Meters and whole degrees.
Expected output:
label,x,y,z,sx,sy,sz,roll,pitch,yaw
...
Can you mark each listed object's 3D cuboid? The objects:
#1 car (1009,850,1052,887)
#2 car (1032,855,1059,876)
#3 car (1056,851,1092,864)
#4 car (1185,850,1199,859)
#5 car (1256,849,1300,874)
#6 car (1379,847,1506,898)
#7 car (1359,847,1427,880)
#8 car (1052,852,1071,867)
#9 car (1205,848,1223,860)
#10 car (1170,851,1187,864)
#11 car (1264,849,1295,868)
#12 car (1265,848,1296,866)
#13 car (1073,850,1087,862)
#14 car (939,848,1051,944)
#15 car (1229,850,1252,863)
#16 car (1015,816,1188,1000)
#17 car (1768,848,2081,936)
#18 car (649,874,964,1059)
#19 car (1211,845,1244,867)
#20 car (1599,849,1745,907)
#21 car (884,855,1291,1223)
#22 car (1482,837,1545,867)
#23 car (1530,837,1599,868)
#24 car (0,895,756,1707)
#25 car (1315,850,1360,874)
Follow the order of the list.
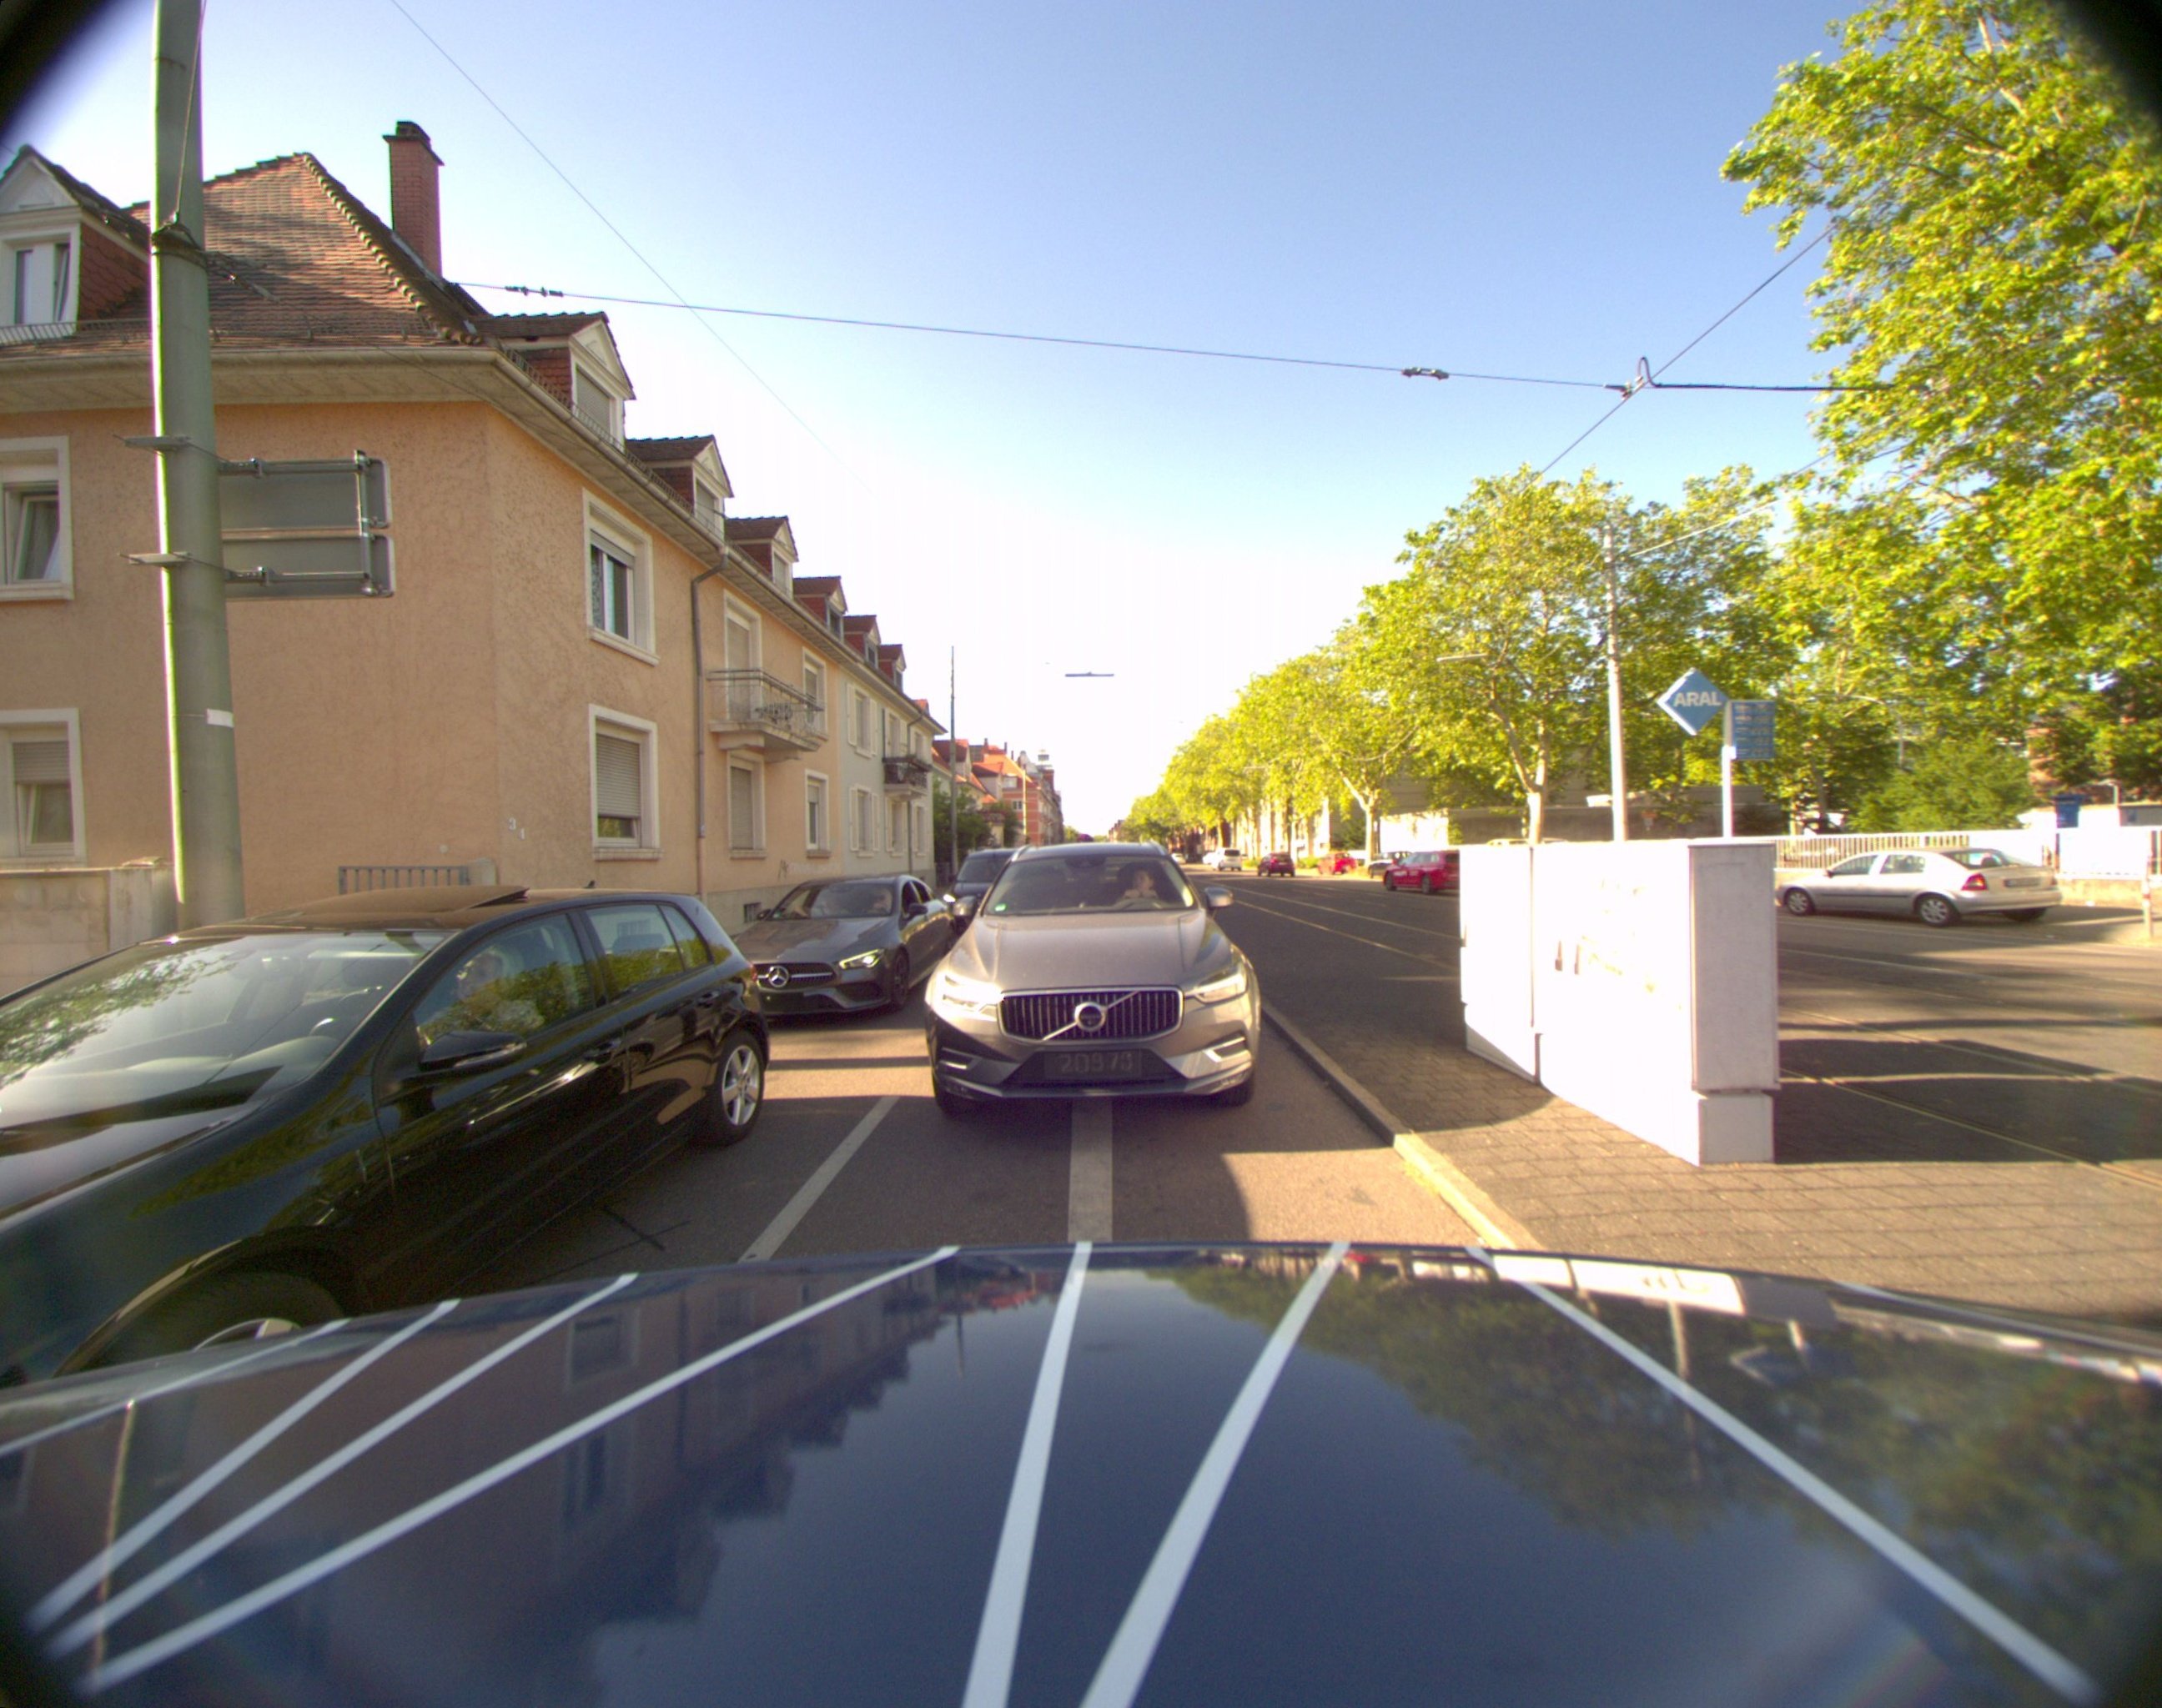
label,x,y,z,sx,sy,sz,roll,pitch,yaw
car,-2.888,0.760,45.013,1.937,1.888,7.210,-2,1,1
car,-2.827,0.894,60.588,1.841,1.449,3.999,-2,1,1
car,-0.851,0.466,92.326,3.990,1.449,1.845,-2,1,28
car,18.333,0.035,125.559,1.700,1.401,3.999,-1,1,1
car,12.128,0.430,47.047,1.700,1.412,3.999,-1,1,1
car,11.833,0.543,25.283,1.912,1.514,4.763,0,1,0
car,16.936,0.469,41.483,1.753,1.514,4.434,-5,1,-1
car,-2.182,0.593,85.435,1.841,1.449,3.999,-2,1,1
car,17.664,0.018,100.782,1.700,1.548,3.999,-1,1,1
car,12.942,0.450,101.216,1.764,1.487,3.999,-2,1,1
car,17.168,0.328,65.993,1.700,1.566,3.999,-1,1,1
car,17.285,0.235,65.912,1.700,1.401,3.999,-1,1,1
car,-0.158,0.282,106.487,1.841,1.449,3.999,-2,1,1
car,-1.778,0.800,17.210,1.866,1.794,4.778,-2,1,1
car,17.517,0.259,83.520,1.700,1.401,3.999,-1,1,1
car,0.237,0.601,11.121,1.912,2.048,4.763,-2,1,0
car,16.201,0.635,14.960,1.731,1.412,3.999,-2,1,1
car,-2.787,1.063,8.987,1.911,1.411,4.492,-2,1,2
car,12.554,0.159,65.338,1.850,1.835,4.394,-1,1,-1
car,16.345,0.614,21.202,1.546,1.412,3.254,-2,1,1
car,0.040,0.903,6.069,1.912,1.666,4.763,-2,1,0
car,21.715,-0.105,38.274,1.545,1.412,3.151,-2,1,4
car,23.945,-0.082,37.726,1.545,1.412,3.151,-2,1,4
car,-2.912,0.988,2.645,1.733,1.499,4.051,-2,-1,1
car,16.927,0.480,50.378,1.700,1.460,3.999,-1,1,1
